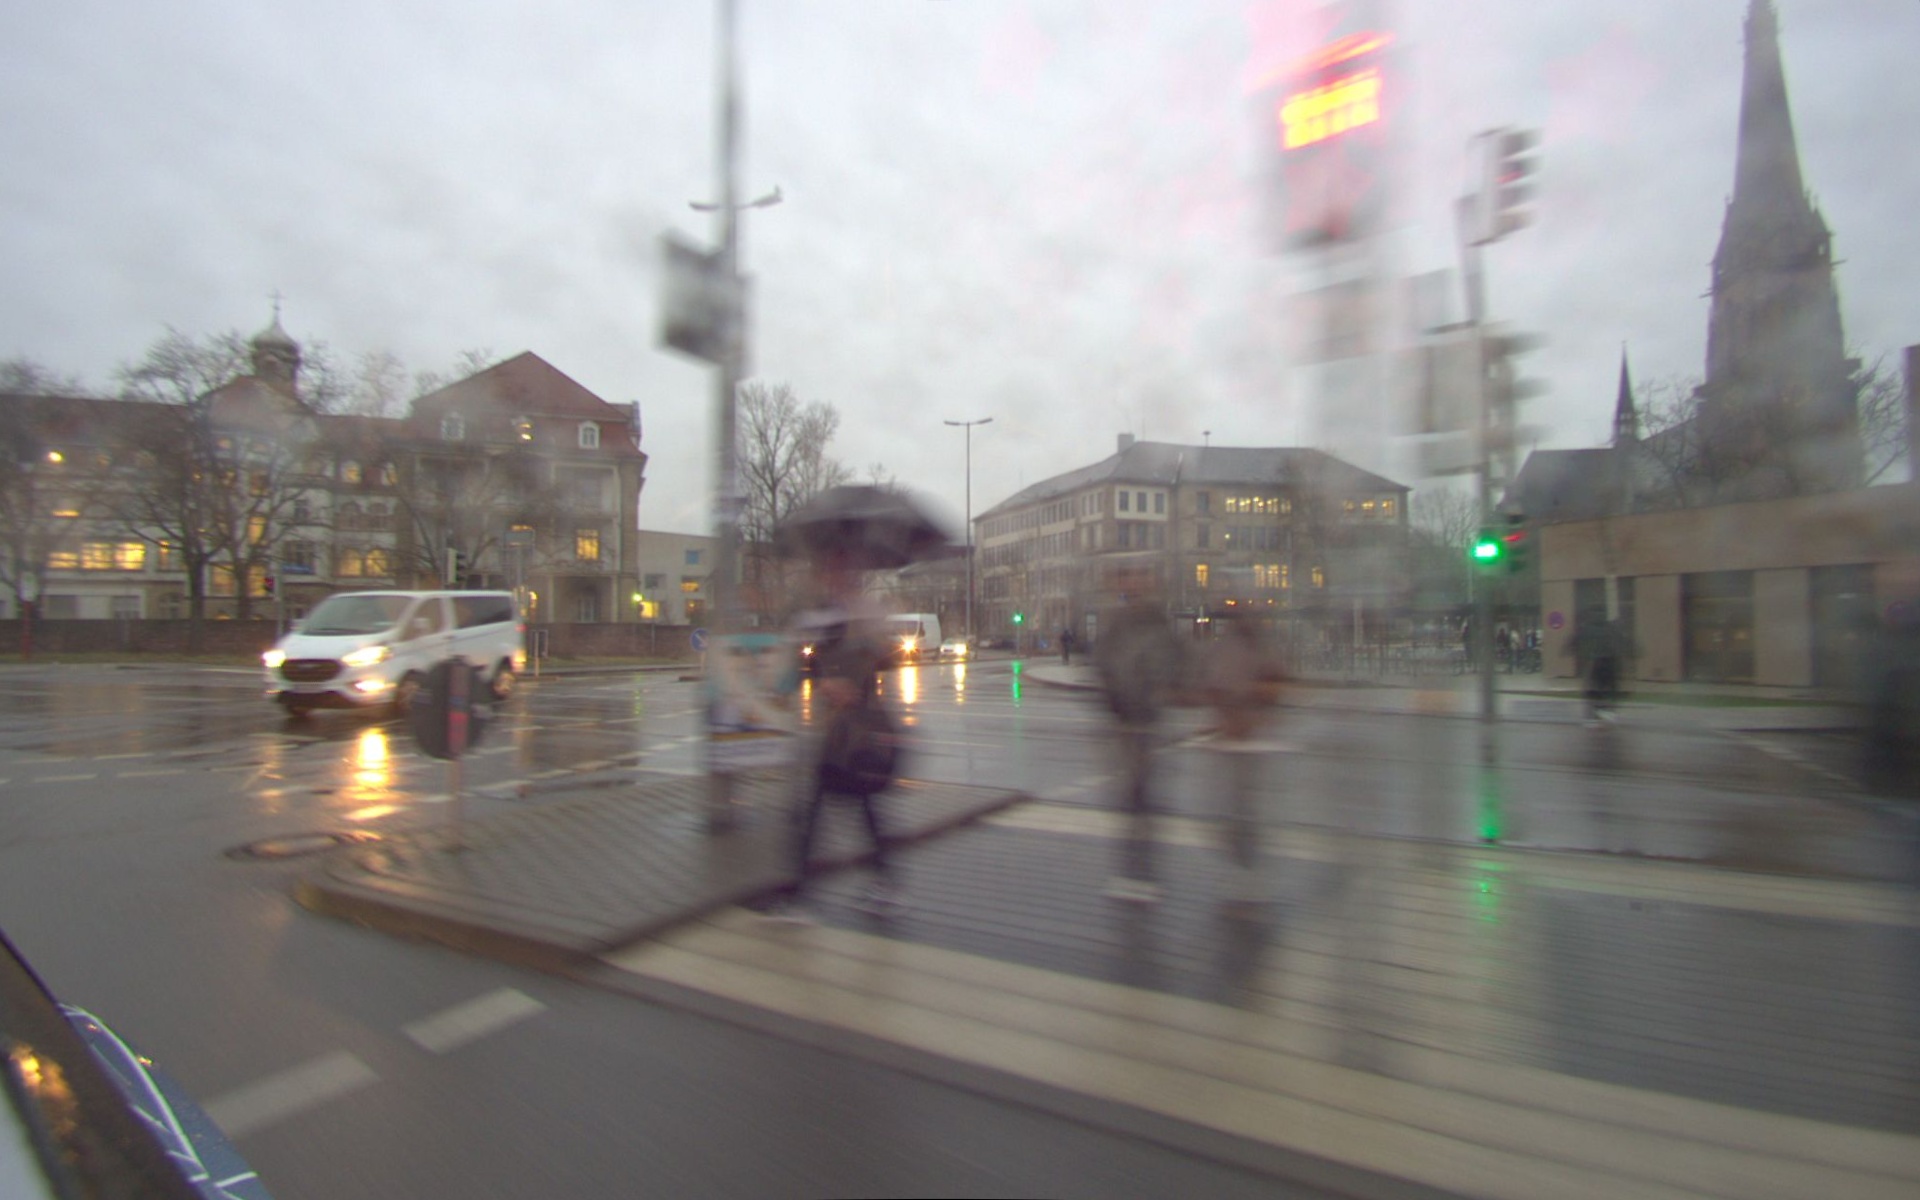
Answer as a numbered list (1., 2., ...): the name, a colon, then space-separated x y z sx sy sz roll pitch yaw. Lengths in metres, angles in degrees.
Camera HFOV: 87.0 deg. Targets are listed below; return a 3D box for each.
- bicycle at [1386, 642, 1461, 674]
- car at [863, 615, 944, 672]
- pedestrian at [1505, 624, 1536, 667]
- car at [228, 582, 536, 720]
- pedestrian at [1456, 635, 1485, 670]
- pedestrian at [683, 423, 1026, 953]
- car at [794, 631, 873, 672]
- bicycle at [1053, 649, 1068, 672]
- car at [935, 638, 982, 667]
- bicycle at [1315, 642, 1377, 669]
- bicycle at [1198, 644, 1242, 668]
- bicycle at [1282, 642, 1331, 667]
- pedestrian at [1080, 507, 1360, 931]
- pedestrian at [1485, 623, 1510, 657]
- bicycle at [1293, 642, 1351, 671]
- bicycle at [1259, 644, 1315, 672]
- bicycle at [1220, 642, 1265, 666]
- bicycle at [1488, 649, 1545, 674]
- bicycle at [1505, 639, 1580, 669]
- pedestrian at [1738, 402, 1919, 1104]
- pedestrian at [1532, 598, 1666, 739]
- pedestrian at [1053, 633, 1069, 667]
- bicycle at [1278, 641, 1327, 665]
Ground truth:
1. bicycle: 16.981 2.104 37.157 0.597 1.113 2.759 -1 -2 -24
2. car: -2.673 2.125 49.727 2.325 2.537 5.841 -3 -3 13
3. pedestrian: 23.163 1.891 41.841 0.808 1.693 0.844 -5 -2 14
4. car: -9.485 0.887 17.235 2.111 1.936 5.009 -2 -3 4
5. pedestrian: 28.505 2.952 56.525 1.040 1.864 0.845 -5 -5 13
6. pedestrian: -0.461 0.377 4.741 1.031 2.065 1.202 -4 -4 30
7. car: -4.969 2.041 40.396 1.738 1.515 4.299 -3 -3 13
8. bicycle: 5.378 3.207 54.022 0.617 1.185 1.867 1 -2 10
9. car: -0.044 3.122 60.394 1.821 1.656 4.796 0 -2 13
10. bicycle: 16.589 2.378 43.548 0.636 1.113 2.759 -1 -2 -27
11. bicycle: 12.419 2.690 48.456 0.636 1.113 2.759 -1 -3 -18
12. bicycle: 16.463 2.598 48.162 0.636 1.113 2.759 -1 -3 -18
13. pedestrian: 1.229 0.560 5.101 1.056 1.872 1.034 -2 -3 2
14. pedestrian: 29.668 2.200 55.903 1.025 1.864 0.844 0 -3 14
15. bicycle: 14.923 2.342 41.811 0.636 1.113 2.759 -1 -3 -18
16. bicycle: 13.519 2.428 41.952 0.636 1.113 2.759 -1 -3 -18
17. bicycle: 13.561 2.618 48.724 0.636 1.113 2.759 -1 -3 -18
18. bicycle: 20.379 2.244 37.078 0.596 0.878 1.870 2 -3 -21
19. bicycle: 22.634 2.108 39.378 0.636 1.113 2.759 -1 -3 -18
20. pedestrian: 3.225 0.428 3.125 1.106 2.021 0.838 -5 -4 34
21. pedestrian: 8.994 0.958 14.263 1.019 1.872 1.236 1 -4 -41
22. pedestrian: 5.387 2.668 54.085 0.710 1.747 0.978 1 -3 11
23. bicycle: 16.980 2.667 50.266 0.636 1.113 2.759 -1 -3 -21
